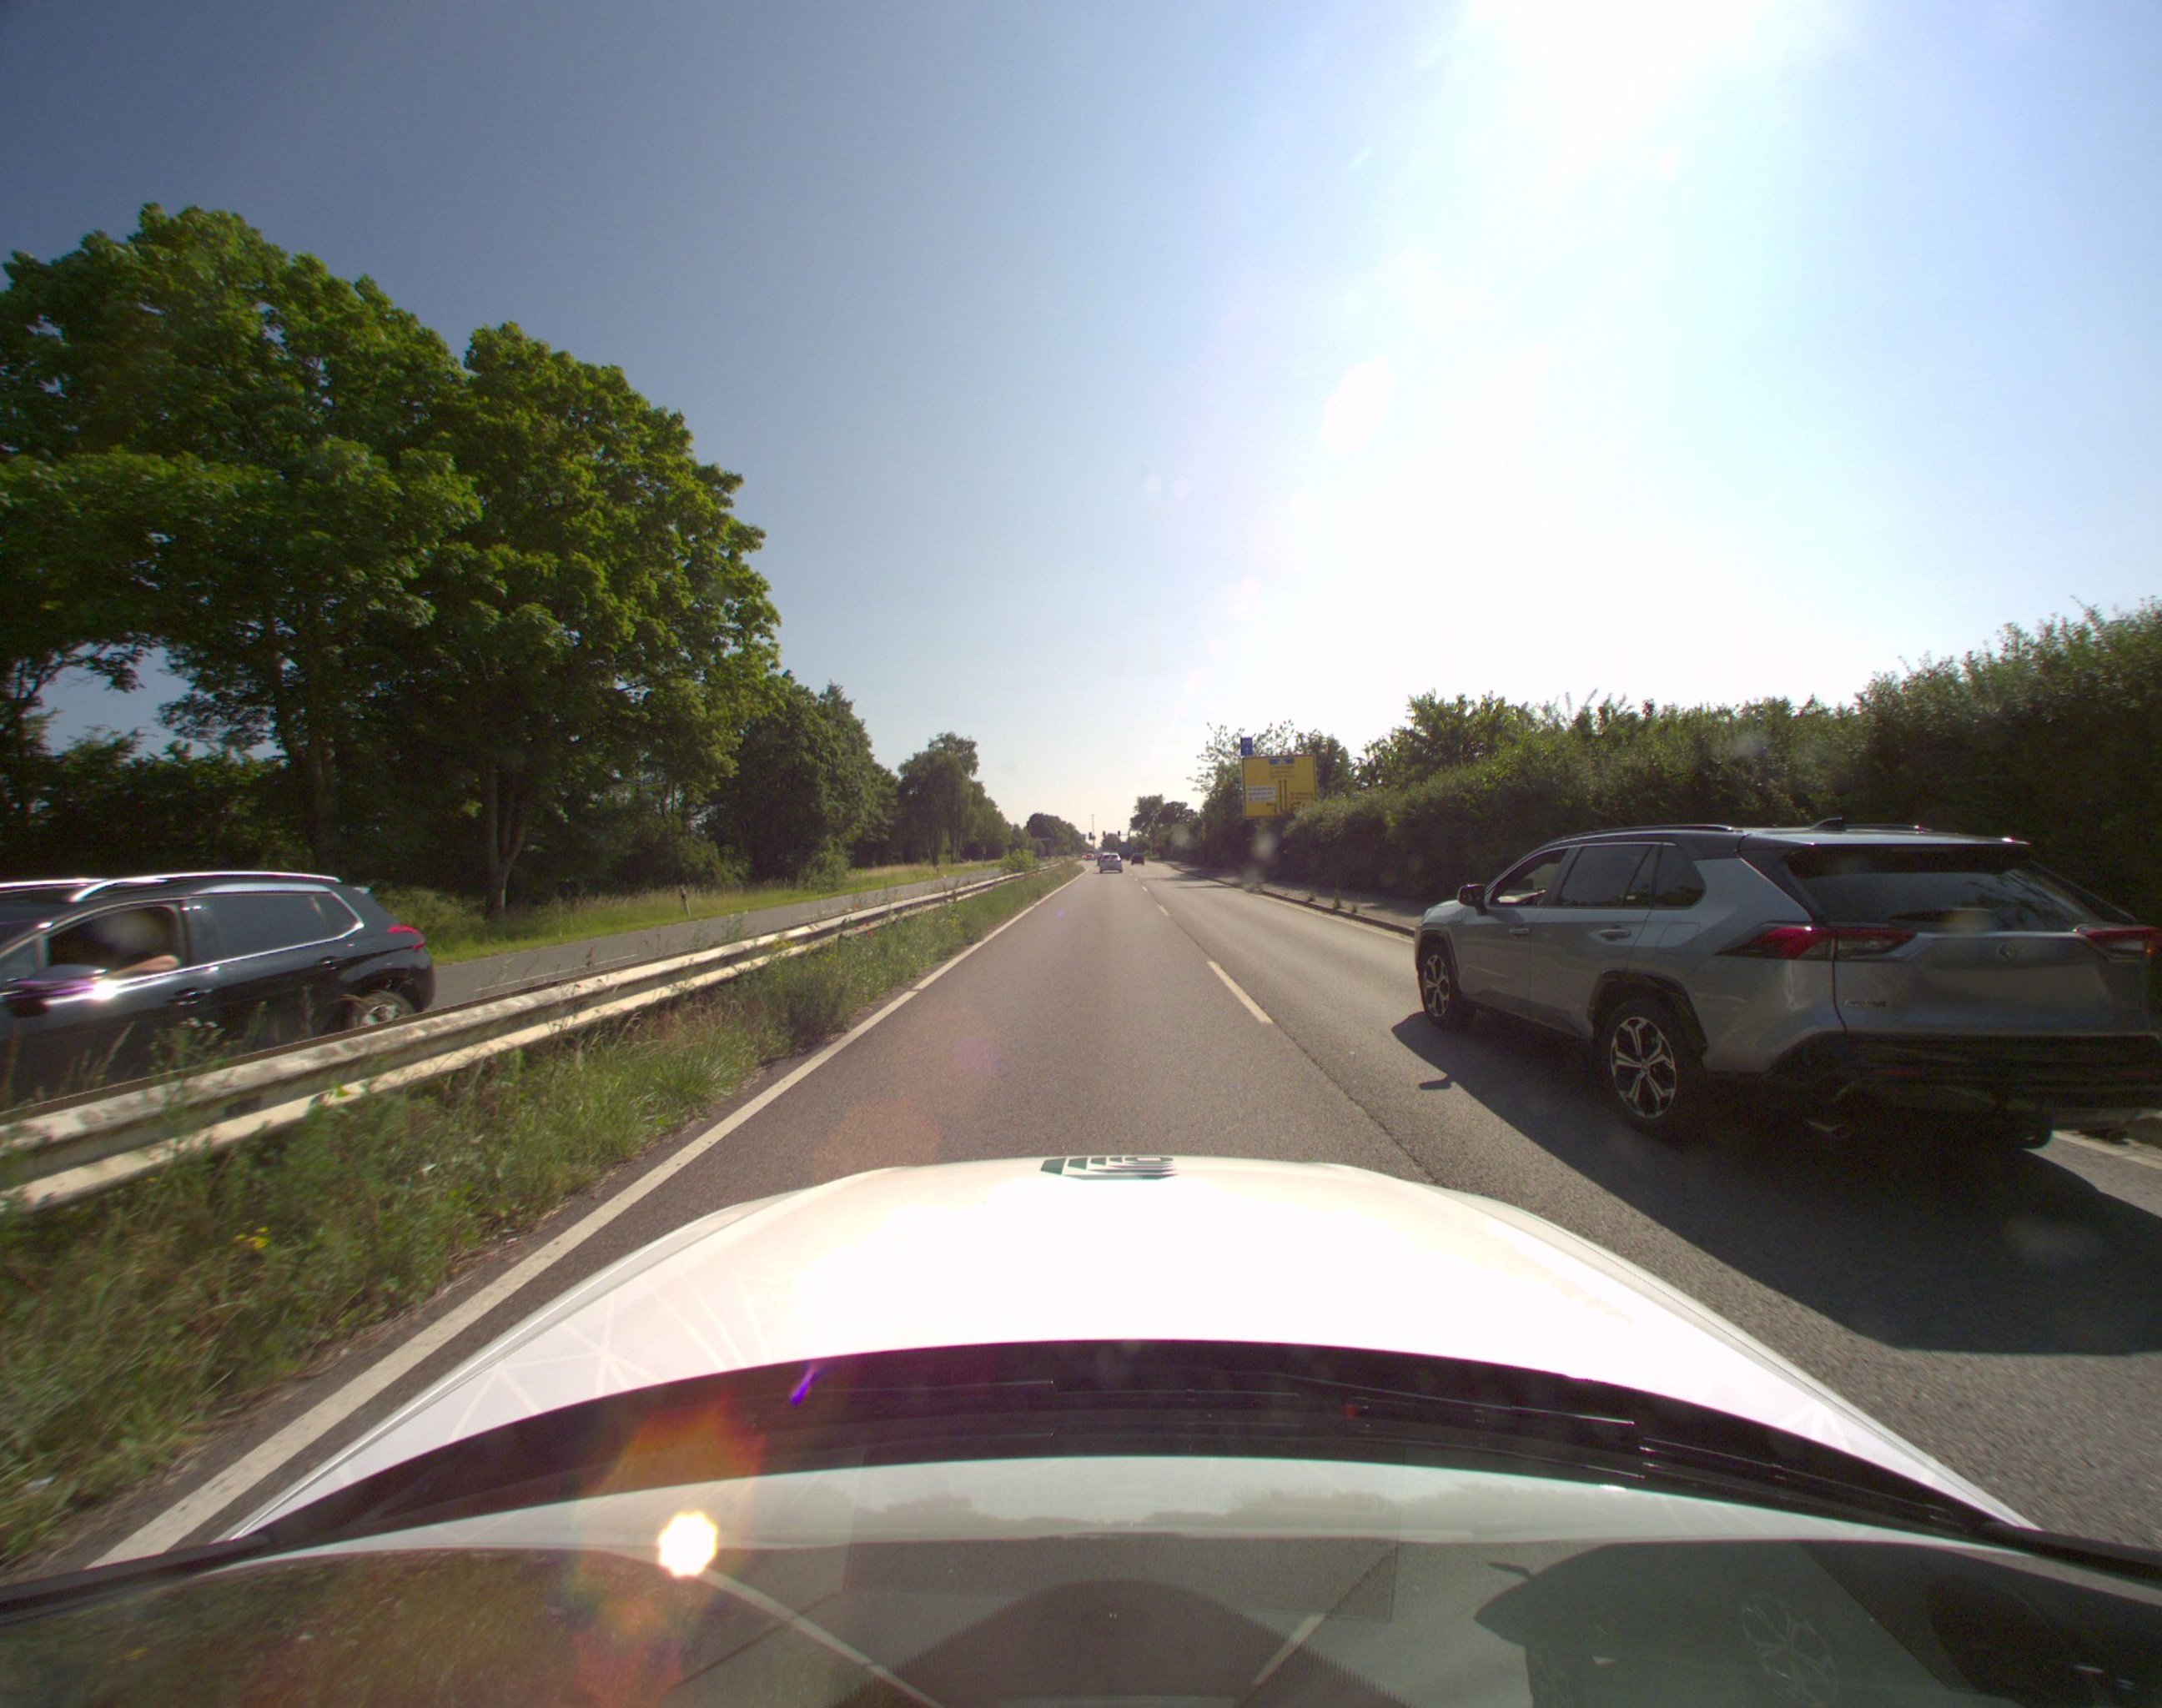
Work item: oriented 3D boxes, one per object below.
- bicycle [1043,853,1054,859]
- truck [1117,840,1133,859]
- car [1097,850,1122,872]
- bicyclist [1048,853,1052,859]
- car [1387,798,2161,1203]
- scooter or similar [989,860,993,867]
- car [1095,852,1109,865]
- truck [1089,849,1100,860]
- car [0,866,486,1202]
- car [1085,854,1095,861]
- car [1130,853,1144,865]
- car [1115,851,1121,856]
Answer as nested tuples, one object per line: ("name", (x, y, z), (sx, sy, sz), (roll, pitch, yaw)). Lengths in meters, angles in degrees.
("bicycle", (-9.072, 0.609, 227.880), (2.765, 1.670, 1.143), (-3, 0, 28))
("truck", (8.707, -0.894, 162.189), (2.881, 3.428, 9.173), (-2, 0, 2))
("car", (2.197, 0.474, 61.498), (1.791, 1.552, 4.003), (-1, 1, 2))
("bicyclist", (-8.628, 0.450, 227.640), (0.854, 1.618, 0.763), (-2, -1, 29))
("car", (3.939, 0.604, 5.749), (1.895, 1.680, 4.685), (-1, 0, 1))
("scooter or similar", (-14.543, 1.495, 131.506), (0.366, 1.186, 1.341), (-4, -1, 2))
("car", (2.487, 0.537, 95.945), (1.566, 1.414, 3.279), (0, 0, 2))
("truck", (3.029, 0.091, 183.396), (2.363, 2.388, 6.046), (0, 1, 3))
("car", (-5.986, 0.920, 4.803), (1.772, 1.530, 4.161), (-3, 0, 1))
("car", (1.931, 0.696, 176.437), (1.805, 1.464, 4.975), (-1, 0, 3))
("car", (7.001, 0.642, 102.242), (1.566, 1.414, 3.279), (-2, -1, 2))
("car", (11.221, -0.073, 248.084), (1.804, 1.464, 4.464), (-3, 0, 4))
